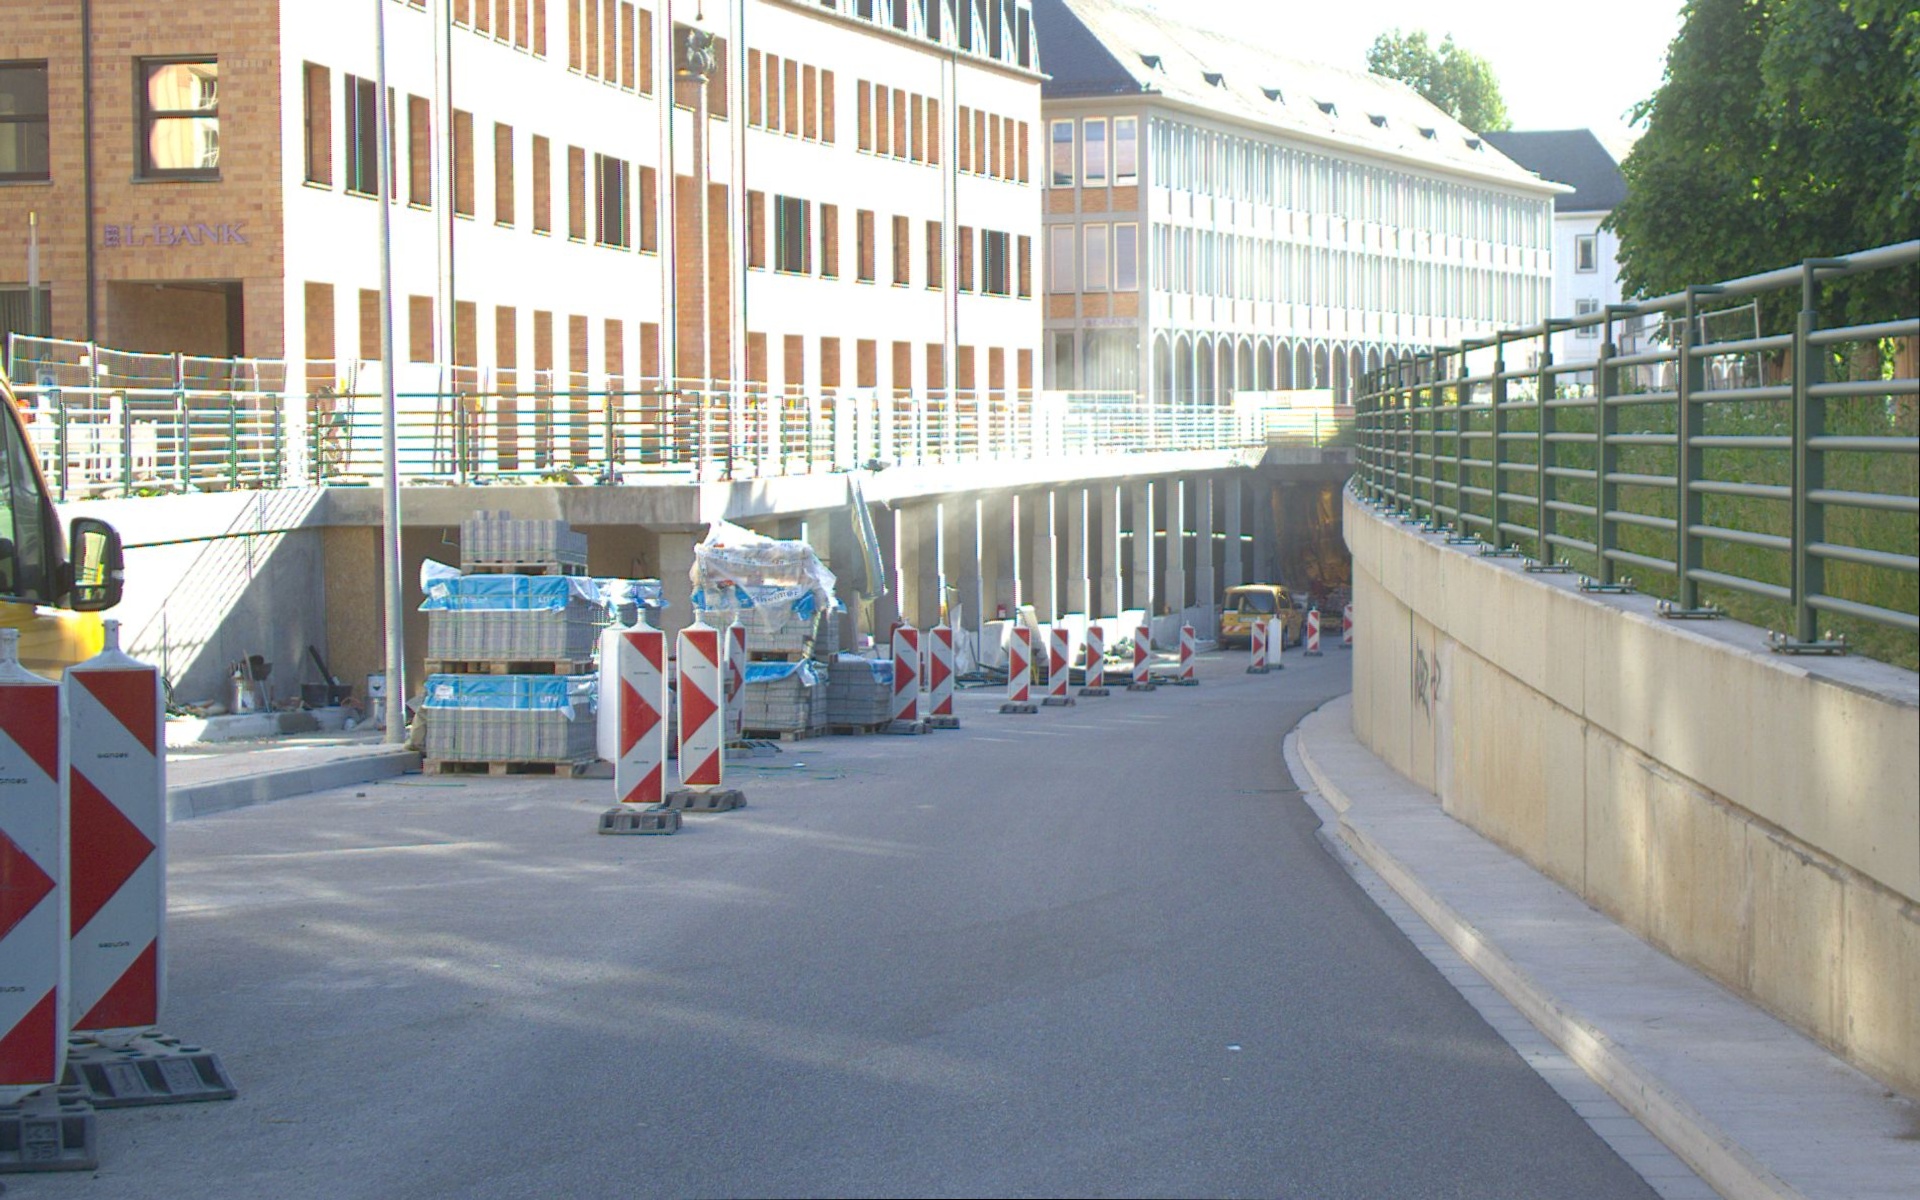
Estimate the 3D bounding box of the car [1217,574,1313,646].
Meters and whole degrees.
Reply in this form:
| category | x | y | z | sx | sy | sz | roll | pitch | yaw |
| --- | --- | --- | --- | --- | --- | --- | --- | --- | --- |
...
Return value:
| category | x | y | z | sx | sy | sz | roll | pitch | yaw |
| --- | --- | --- | --- | --- | --- | --- | --- | --- | --- |
| car | 8.434 | 0.240 | 94.811 | 1.849 | 1.769 | 4.431 | 1 | 2 | 15 |

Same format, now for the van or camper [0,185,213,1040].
| category | x | y | z | sx | sy | sz | roll | pitch | yaw |
| --- | --- | --- | --- | --- | --- | --- | --- | --- | --- |
| van or camper | -4.038 | 0.024 | 9.531 | 2.194 | 2.603 | 6.824 | 2 | 0 | 2 |
